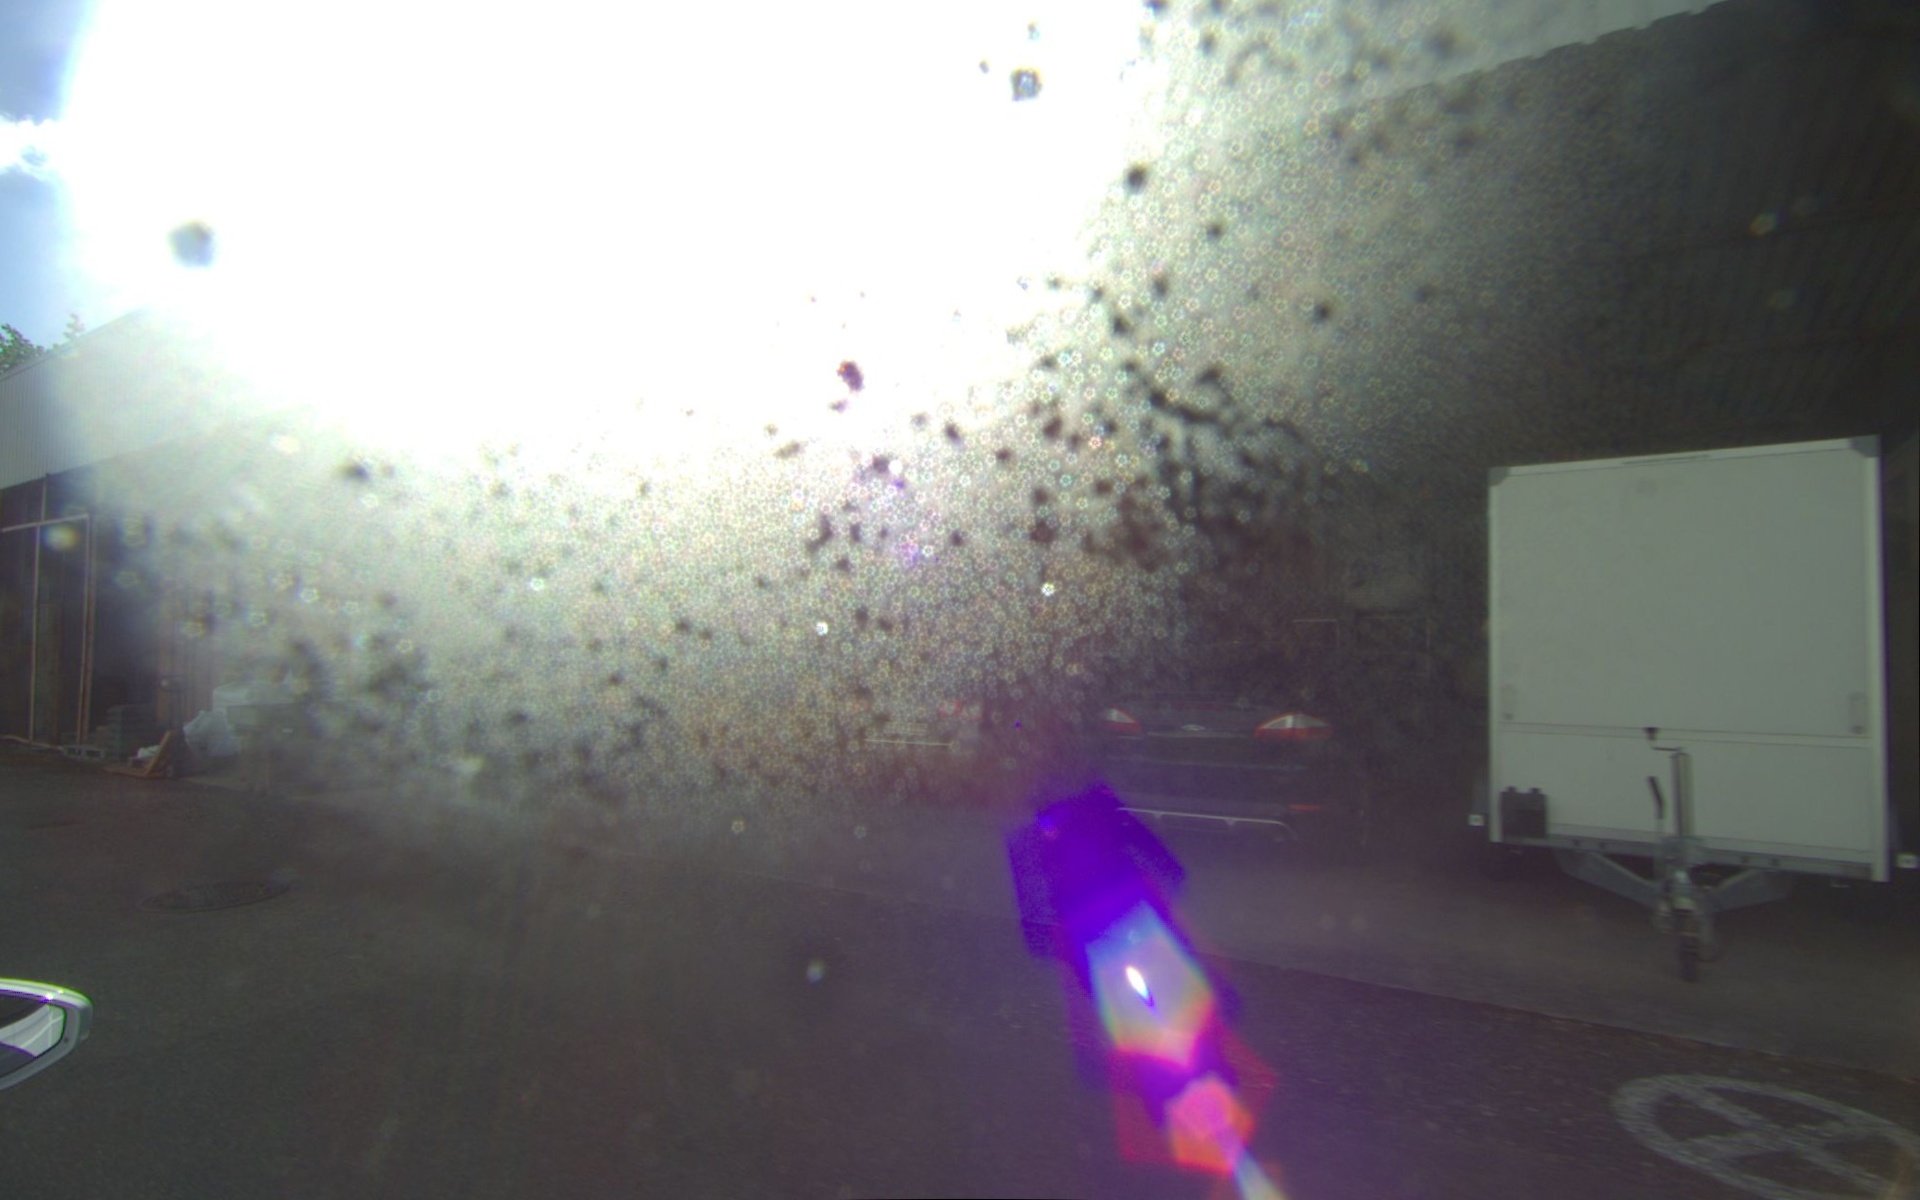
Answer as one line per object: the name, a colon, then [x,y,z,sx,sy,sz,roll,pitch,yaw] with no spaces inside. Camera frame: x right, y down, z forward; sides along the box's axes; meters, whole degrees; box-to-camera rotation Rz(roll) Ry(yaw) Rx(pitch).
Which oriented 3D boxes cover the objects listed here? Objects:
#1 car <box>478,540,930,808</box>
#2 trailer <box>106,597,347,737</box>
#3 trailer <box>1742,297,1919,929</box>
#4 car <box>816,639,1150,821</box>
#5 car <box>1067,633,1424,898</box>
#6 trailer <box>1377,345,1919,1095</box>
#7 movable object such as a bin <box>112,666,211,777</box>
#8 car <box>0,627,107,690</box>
car: [-2.564,0.807,11.438,1.972,2.354,4.971,-1,-4,33]
trailer: [-12.304,1.081,16.763,4.040,2.084,1.853,-1,-3,32]
trailer: [7.253,0.159,6.166,2.813,3.255,10.023,-1,-3,32]
car: [0.451,1.190,10.419,1.762,1.491,3.983,-1,-3,31]
car: [2.547,1.073,8.066,1.751,1.514,4.326,-1,-3,30]
trailer: [3.946,0.514,5.629,1.804,2.421,4.798,-1,-3,37]
movable object such as a bin: [-9.163,1.363,11.481,1.222,1.179,0.580,-1,-3,37]
car: [-29.883,1.784,30.752,1.969,1.899,5.238,-1,-3,27]
